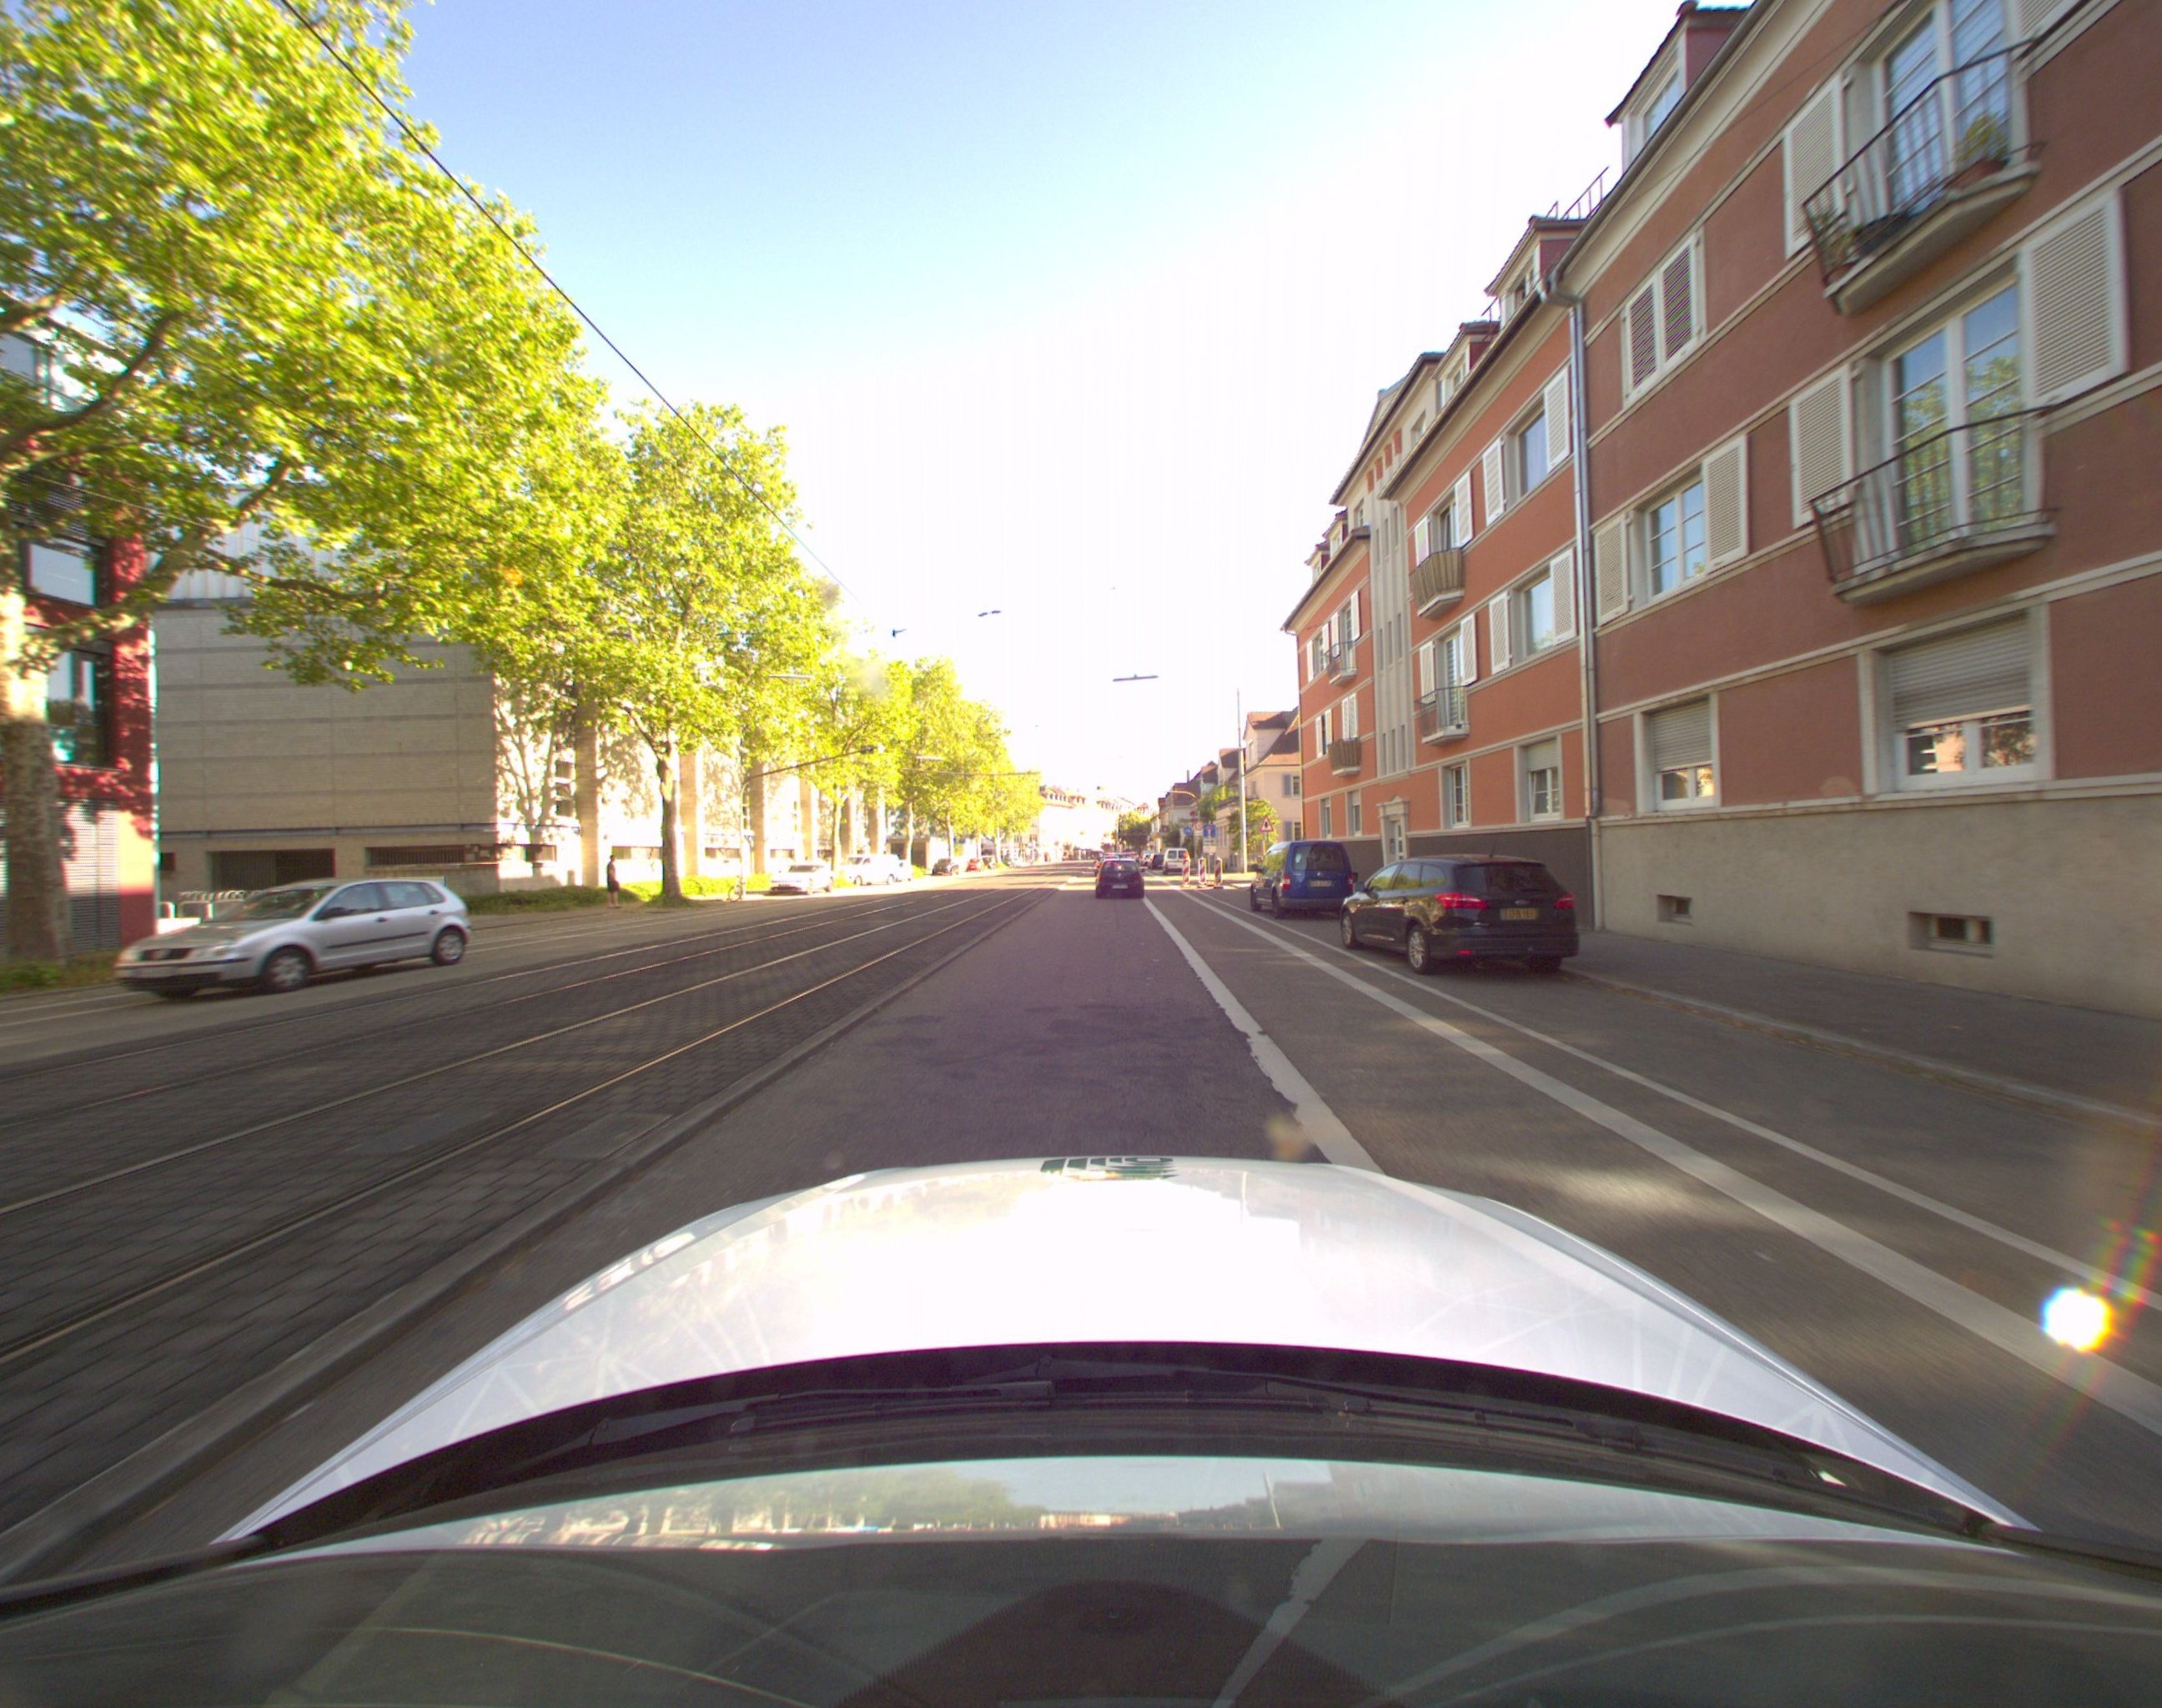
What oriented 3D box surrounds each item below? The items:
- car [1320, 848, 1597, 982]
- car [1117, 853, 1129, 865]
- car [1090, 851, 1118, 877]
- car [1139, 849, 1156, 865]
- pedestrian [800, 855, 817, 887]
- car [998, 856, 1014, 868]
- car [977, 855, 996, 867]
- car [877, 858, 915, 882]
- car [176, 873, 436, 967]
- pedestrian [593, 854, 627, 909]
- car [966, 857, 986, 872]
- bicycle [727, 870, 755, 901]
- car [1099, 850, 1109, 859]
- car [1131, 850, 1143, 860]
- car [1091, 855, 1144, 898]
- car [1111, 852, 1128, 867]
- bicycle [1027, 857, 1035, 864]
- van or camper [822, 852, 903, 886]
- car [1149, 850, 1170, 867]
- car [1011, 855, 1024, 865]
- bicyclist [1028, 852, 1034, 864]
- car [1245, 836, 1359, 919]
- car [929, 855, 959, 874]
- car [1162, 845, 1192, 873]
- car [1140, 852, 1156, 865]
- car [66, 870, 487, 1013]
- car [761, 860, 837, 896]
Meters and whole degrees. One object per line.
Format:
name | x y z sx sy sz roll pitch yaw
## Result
car | 4.972 0.683 11.593 1.748 1.511 4.762 0 0 0
car | 5.722 0.684 111.794 1.630 1.472 3.731 -2 0 2
car | 1.531 0.640 53.909 1.741 1.537 3.894 -2 0 3
car | 8.005 0.339 97.681 1.810 1.799 4.002 -2 0 2
pedestrian | -15.987 1.001 47.810 0.793 1.820 0.670 0 0 2
car | -10.988 1.155 119.753 1.877 1.669 3.805 0 1 1
car | -11.629 0.860 100.281 1.785 1.465 3.837 1 0 2
car | -13.039 1.105 57.641 1.568 1.507 4.092 0 1 2
car | -14.594 1.175 15.613 1.501 1.453 3.467 -2 0 3
pedestrian | -16.218 0.934 28.058 0.781 1.870 0.672 0 0 4
car | -11.683 1.174 90.974 1.564 1.533 3.574 -2 -1 2
bicycle | -14.303 1.313 34.260 0.580 1.209 1.651 0 0 -4
car | 3.960 0.041 137.853 1.630 1.472 3.731 -3 0 2
car | 8.565 0.120 124.855 1.630 1.472 3.731 -2 0 2
car | 1.261 0.770 29.573 1.742 1.375 4.001 -2 0 1
car | 3.920 0.521 83.336 1.630 1.472 3.731 -2 0 2
bicycle | -7.945 1.051 129.702 0.910 1.083 3.204 0 1 2
van or camper | -13.362 0.878 50.183 2.042 1.949 5.217 0 1 22
car | 7.255 0.407 75.149 1.654 1.526 4.038 -2 0 2
car | -9.848 0.950 126.185 1.630 1.472 3.731 -2 0 2
bicyclist | -7.960 0.660 129.846 0.910 1.833 0.961 0 0 2
car | 5.303 0.507 20.067 1.697 1.810 4.272 0 0 1
car | -12.453 0.956 74.388 1.880 1.666 4.002 -2 0 2
car | 6.472 0.328 55.393 1.752 1.837 3.549 0 0 2
car | 7.656 0.482 92.931 1.574 1.375 4.002 -2 0 2
car | -11.061 1.090 11.710 1.745 1.518 4.076 -4 0 4
car | -13.674 1.130 39.831 2.005 1.572 4.694 0 1 1
